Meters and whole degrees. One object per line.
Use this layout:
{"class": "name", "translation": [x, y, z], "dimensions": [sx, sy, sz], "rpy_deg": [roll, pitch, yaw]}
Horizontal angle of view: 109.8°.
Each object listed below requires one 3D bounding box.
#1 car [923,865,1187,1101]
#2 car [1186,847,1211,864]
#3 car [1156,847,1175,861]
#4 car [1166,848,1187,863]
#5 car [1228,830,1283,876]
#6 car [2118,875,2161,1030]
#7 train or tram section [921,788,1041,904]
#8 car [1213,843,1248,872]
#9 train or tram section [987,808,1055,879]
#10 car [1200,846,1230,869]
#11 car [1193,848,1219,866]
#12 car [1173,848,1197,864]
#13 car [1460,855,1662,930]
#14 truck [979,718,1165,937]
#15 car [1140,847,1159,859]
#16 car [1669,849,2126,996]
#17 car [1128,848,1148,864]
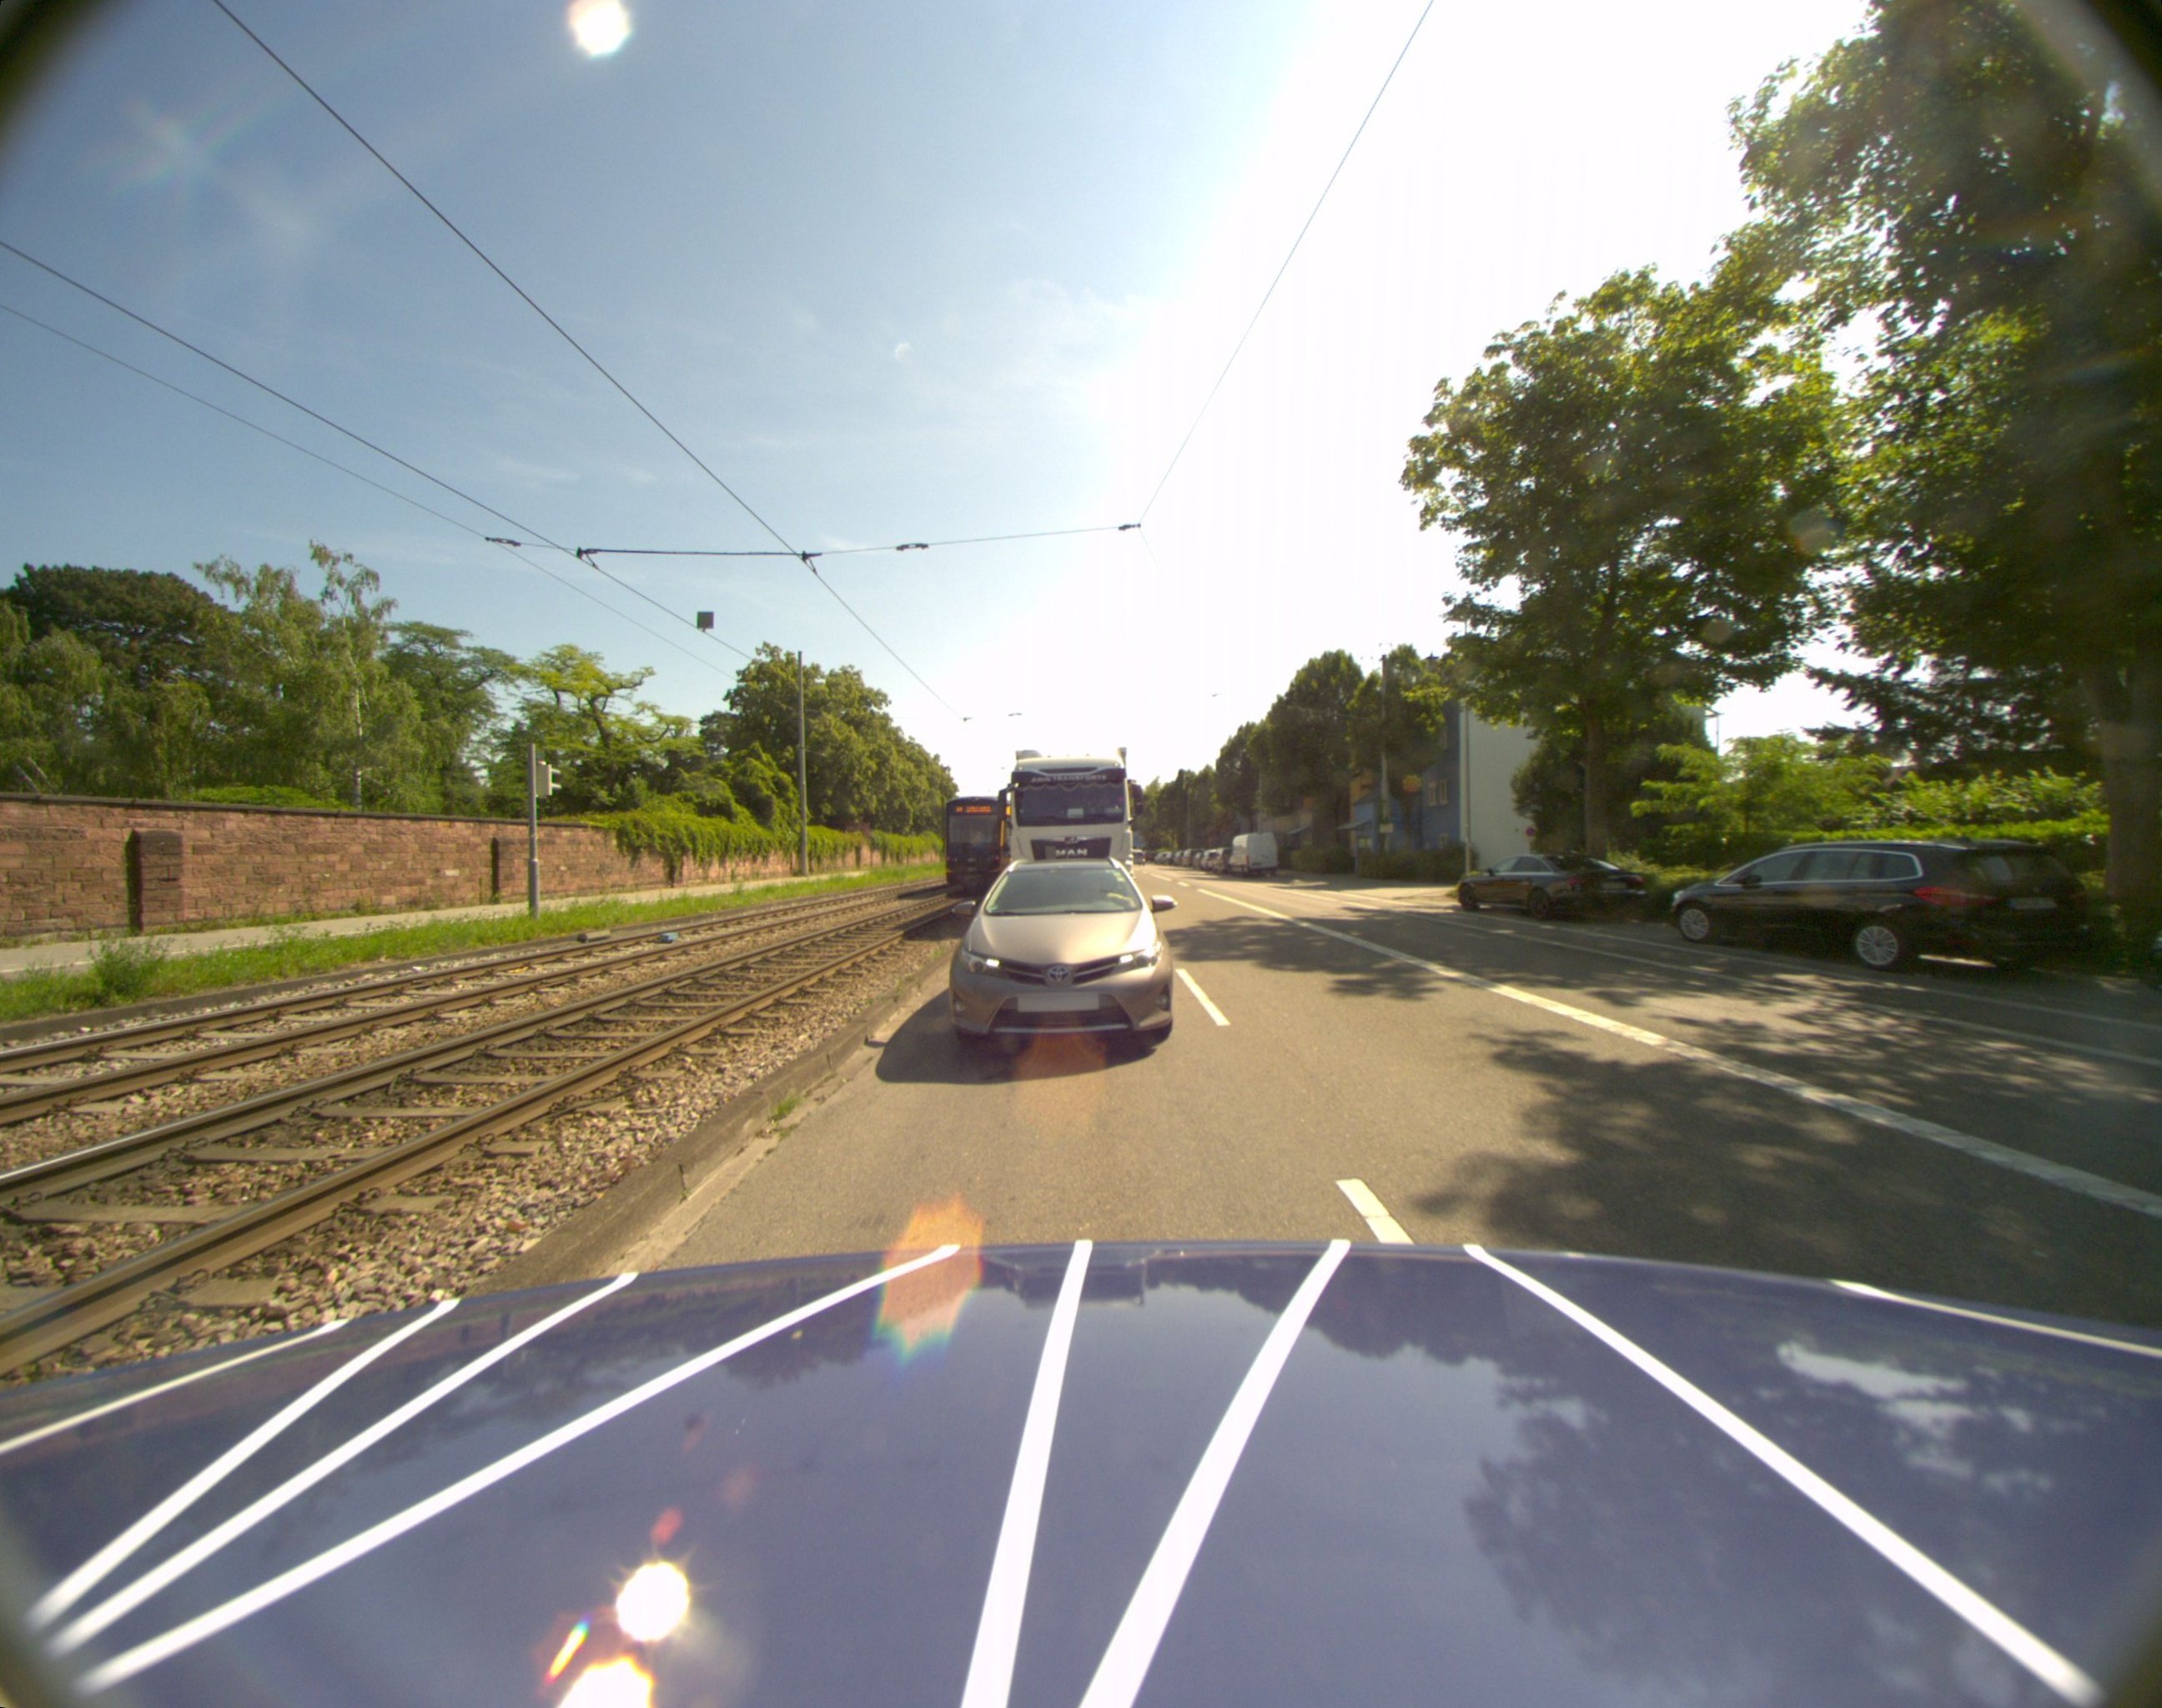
{"class": "car", "translation": [-0.150, 0.895, 7.101], "dimensions": [1.719, 1.439, 4.030], "rpy_deg": [-2, 1, 1]}
{"class": "car", "translation": [11.159, 0.143, 72.301], "dimensions": [1.679, 1.493, 3.766], "rpy_deg": [-4, 1, 1]}
{"class": "car", "translation": [10.073, -0.005, 90.867], "dimensions": [1.679, 1.493, 3.765], "rpy_deg": [-4, 1, -3]}
{"class": "car", "translation": [10.492, 0.105, 83.695], "dimensions": [1.679, 1.493, 3.765], "rpy_deg": [-4, 1, -3]}
{"class": "car", "translation": [10.961, -0.077, 48.201], "dimensions": [2.016, 2.636, 6.085], "rpy_deg": [-4, 1, 1]}
{"class": "car", "translation": [10.567, 0.919, 4.833], "dimensions": [1.701, 1.387, 4.580], "rpy_deg": [0, 1, 1]}
{"class": "train or tram section", "translation": [-3.637, -0.393, 32.264], "dimensions": [2.676, 3.631, 15.303], "rpy_deg": [-2, 1, 1]}
{"class": "car", "translation": [11.017, 0.220, 56.345], "dimensions": [1.679, 1.925, 4.457], "rpy_deg": [-4, 1, 1]}
{"class": "train or tram section", "translation": [-3.466, -0.730, 49.347], "dimensions": [2.679, 3.631, 18.954], "rpy_deg": [-2, 1, 0]}
{"class": "car", "translation": [10.955, 0.249, 62.180], "dimensions": [1.679, 1.659, 4.147], "rpy_deg": [-4, 1, 1]}
{"class": "car", "translation": [11.097, 0.229, 67.602], "dimensions": [1.679, 1.493, 3.766], "rpy_deg": [-4, 1, 1]}
{"class": "car", "translation": [10.677, 0.199, 77.890], "dimensions": [1.679, 1.493, 3.765], "rpy_deg": [-4, 1, -3]}
{"class": "car", "translation": [10.587, 0.756, 17.225], "dimensions": [1.679, 1.427, 4.456], "rpy_deg": [0, 1, -1]}
{"class": "truck", "translation": [-0.078, -0.577, 21.507], "dimensions": [3.391, 4.046, 14.285], "rpy_deg": [-2, 1, 1]}
{"class": "car", "translation": [9.172, -0.107, 101.666], "dimensions": [1.680, 1.493, 3.764], "rpy_deg": [-4, 1, -6]}
{"class": "car", "translation": [10.621, 0.737, 10.479], "dimensions": [1.679, 1.603, 4.241], "rpy_deg": [0, 1, -1]}
{"class": "car", "translation": [5.885, 0.160, 78.350], "dimensions": [1.847, 1.587, 4.000], "rpy_deg": [0, 1, 1]}
